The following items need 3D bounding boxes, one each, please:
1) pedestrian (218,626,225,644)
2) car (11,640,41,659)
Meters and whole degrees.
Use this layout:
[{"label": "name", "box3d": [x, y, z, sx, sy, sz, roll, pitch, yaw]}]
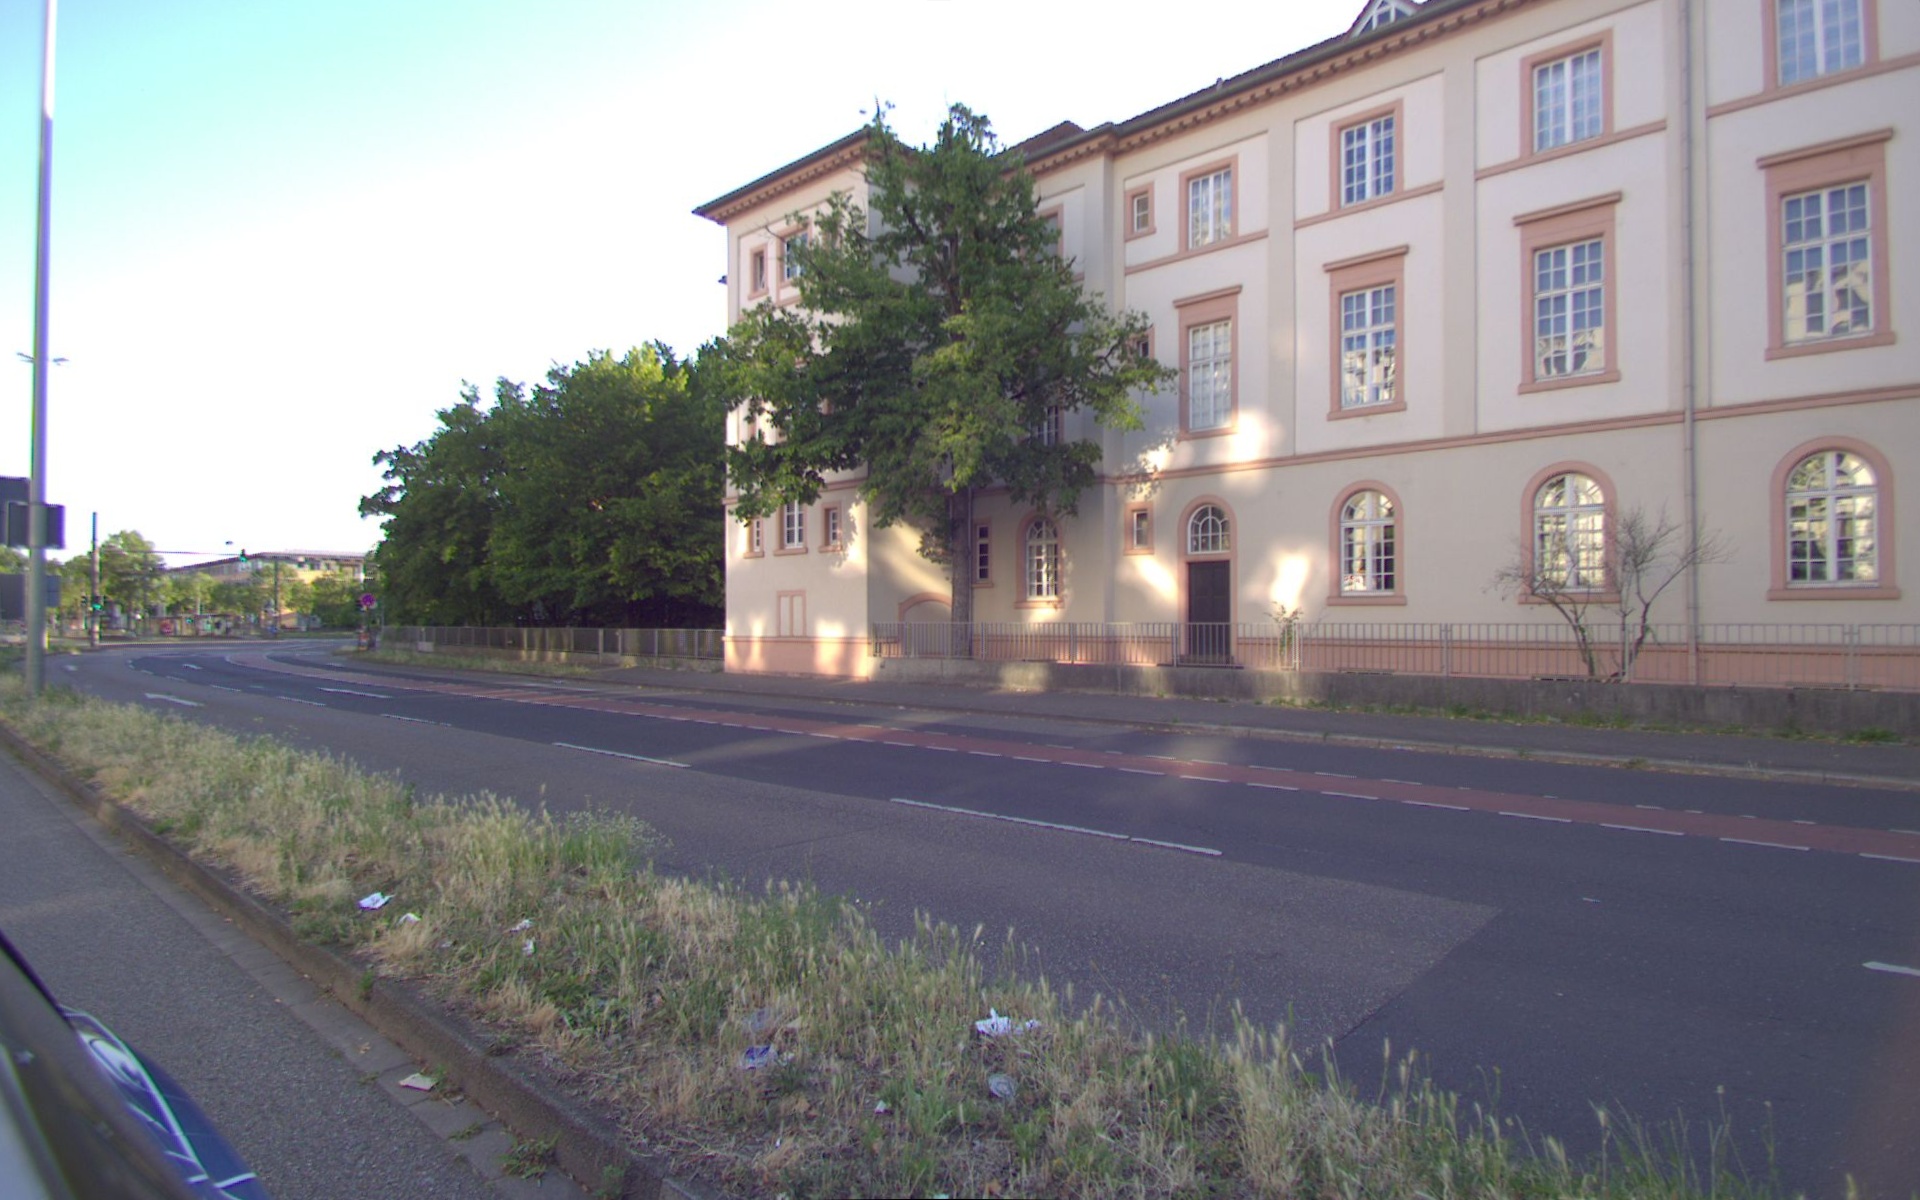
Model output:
[{"label": "pedestrian", "box3d": [-85.500, 4.081, 117.150, 0.664, 2.029, 0.549, -2, -2, 41]}, {"label": "car", "box3d": [-77.896, 4.126, 84.404, 1.650, 1.429, 4.447, 0, -1, -40]}]
